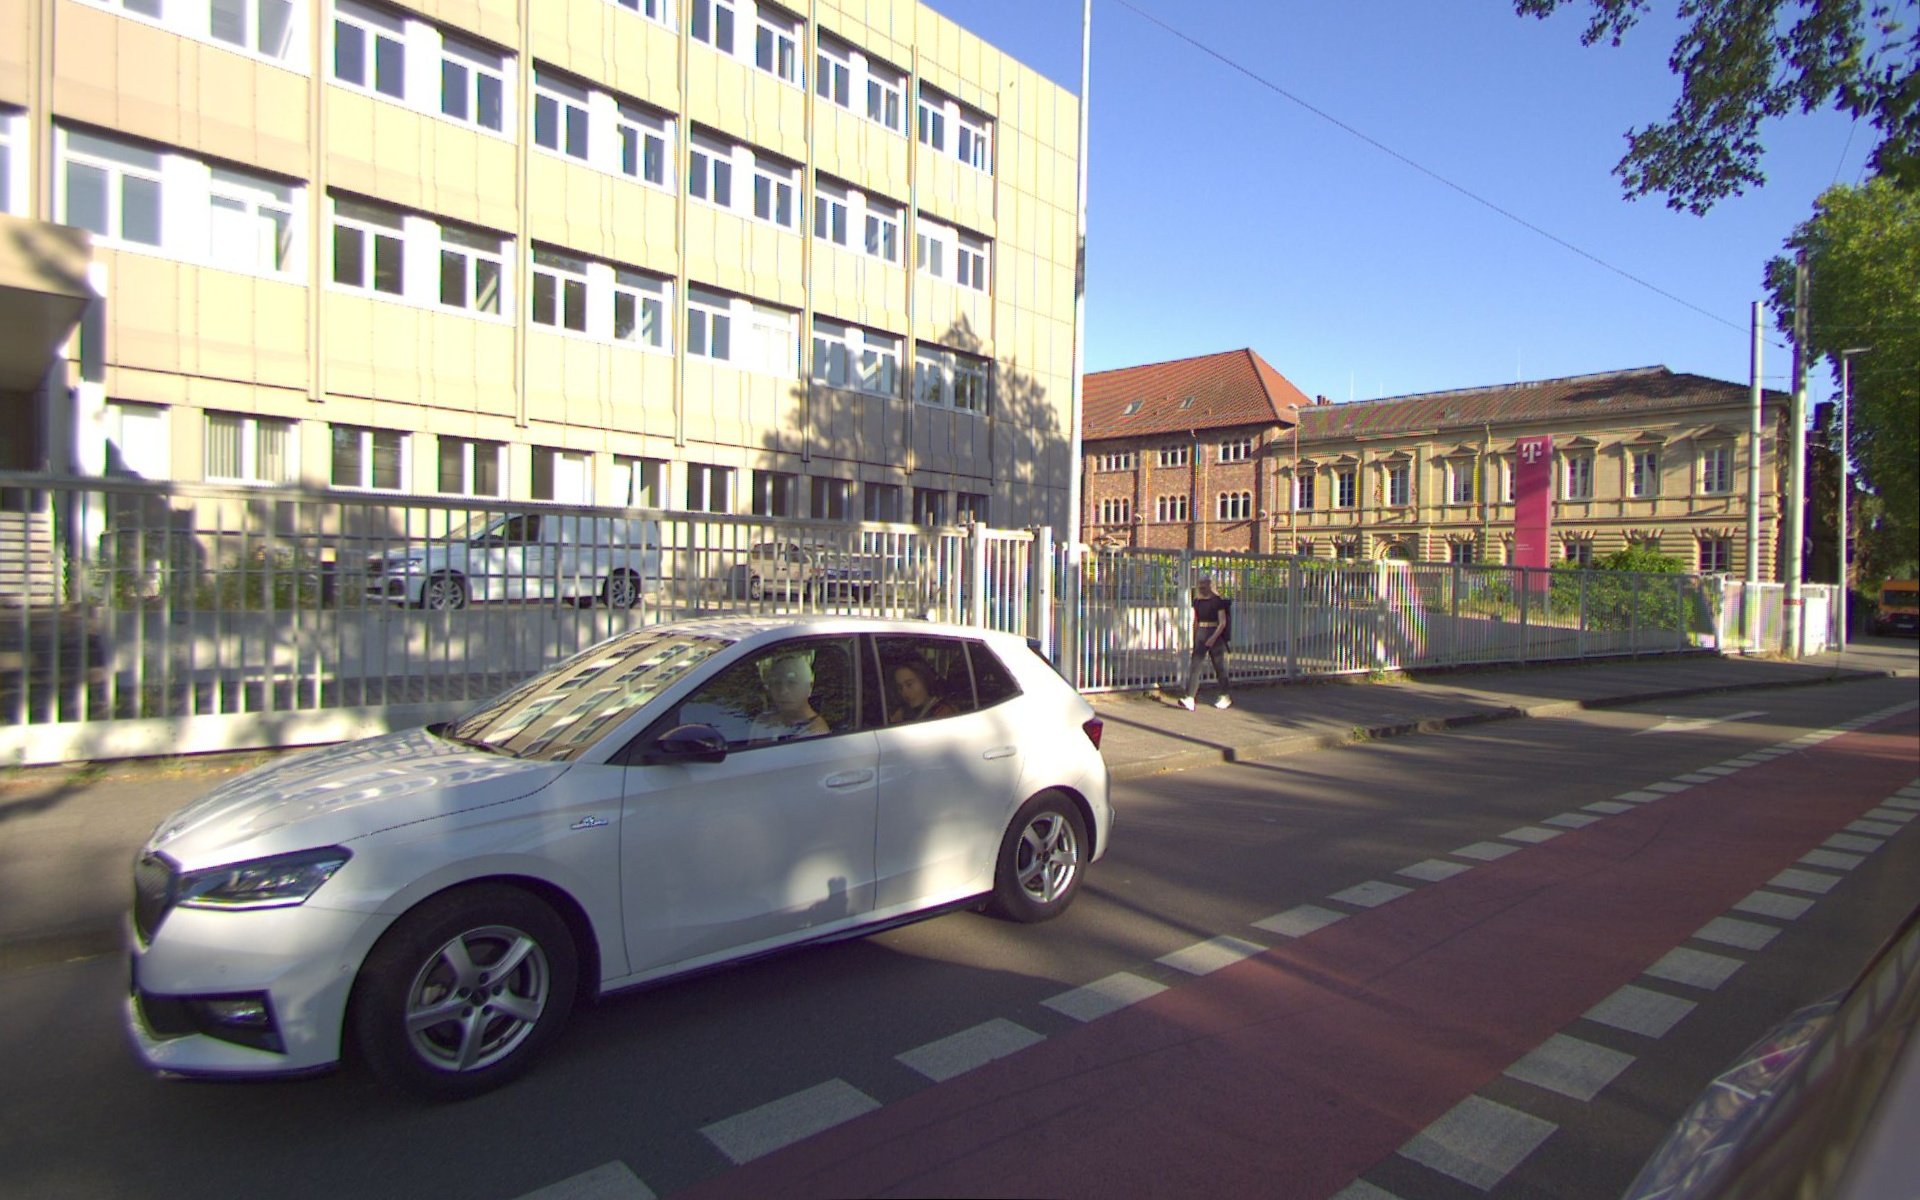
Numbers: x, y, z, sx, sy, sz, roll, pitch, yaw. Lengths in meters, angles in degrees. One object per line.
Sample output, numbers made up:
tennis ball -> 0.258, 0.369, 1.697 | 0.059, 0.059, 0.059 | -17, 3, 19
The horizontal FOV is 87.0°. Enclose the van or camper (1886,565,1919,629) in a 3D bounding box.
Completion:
van or camper -> 41.312, -0.117, 43.359 | 5.678, 2.591, 2.037 | 0, 1, -44

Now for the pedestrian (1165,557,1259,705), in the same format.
pedestrian -> 3.053, 0.349, 12.251 | 0.915, 1.705, 0.697 | 0, 1, -43

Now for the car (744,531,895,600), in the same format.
car -> -3.955, -0.949, 28.041 | 4.253, 1.739, 1.962 | 2, 2, 44

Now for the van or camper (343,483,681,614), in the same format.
van or camper -> -7.506, -0.801, 17.367 | 1.981, 1.932, 4.921 | 3, 2, 43

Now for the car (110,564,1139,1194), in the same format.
car -> -1.138, 0.655, 4.439 | 3.913, 1.520, 1.804 | 0, 1, -42
